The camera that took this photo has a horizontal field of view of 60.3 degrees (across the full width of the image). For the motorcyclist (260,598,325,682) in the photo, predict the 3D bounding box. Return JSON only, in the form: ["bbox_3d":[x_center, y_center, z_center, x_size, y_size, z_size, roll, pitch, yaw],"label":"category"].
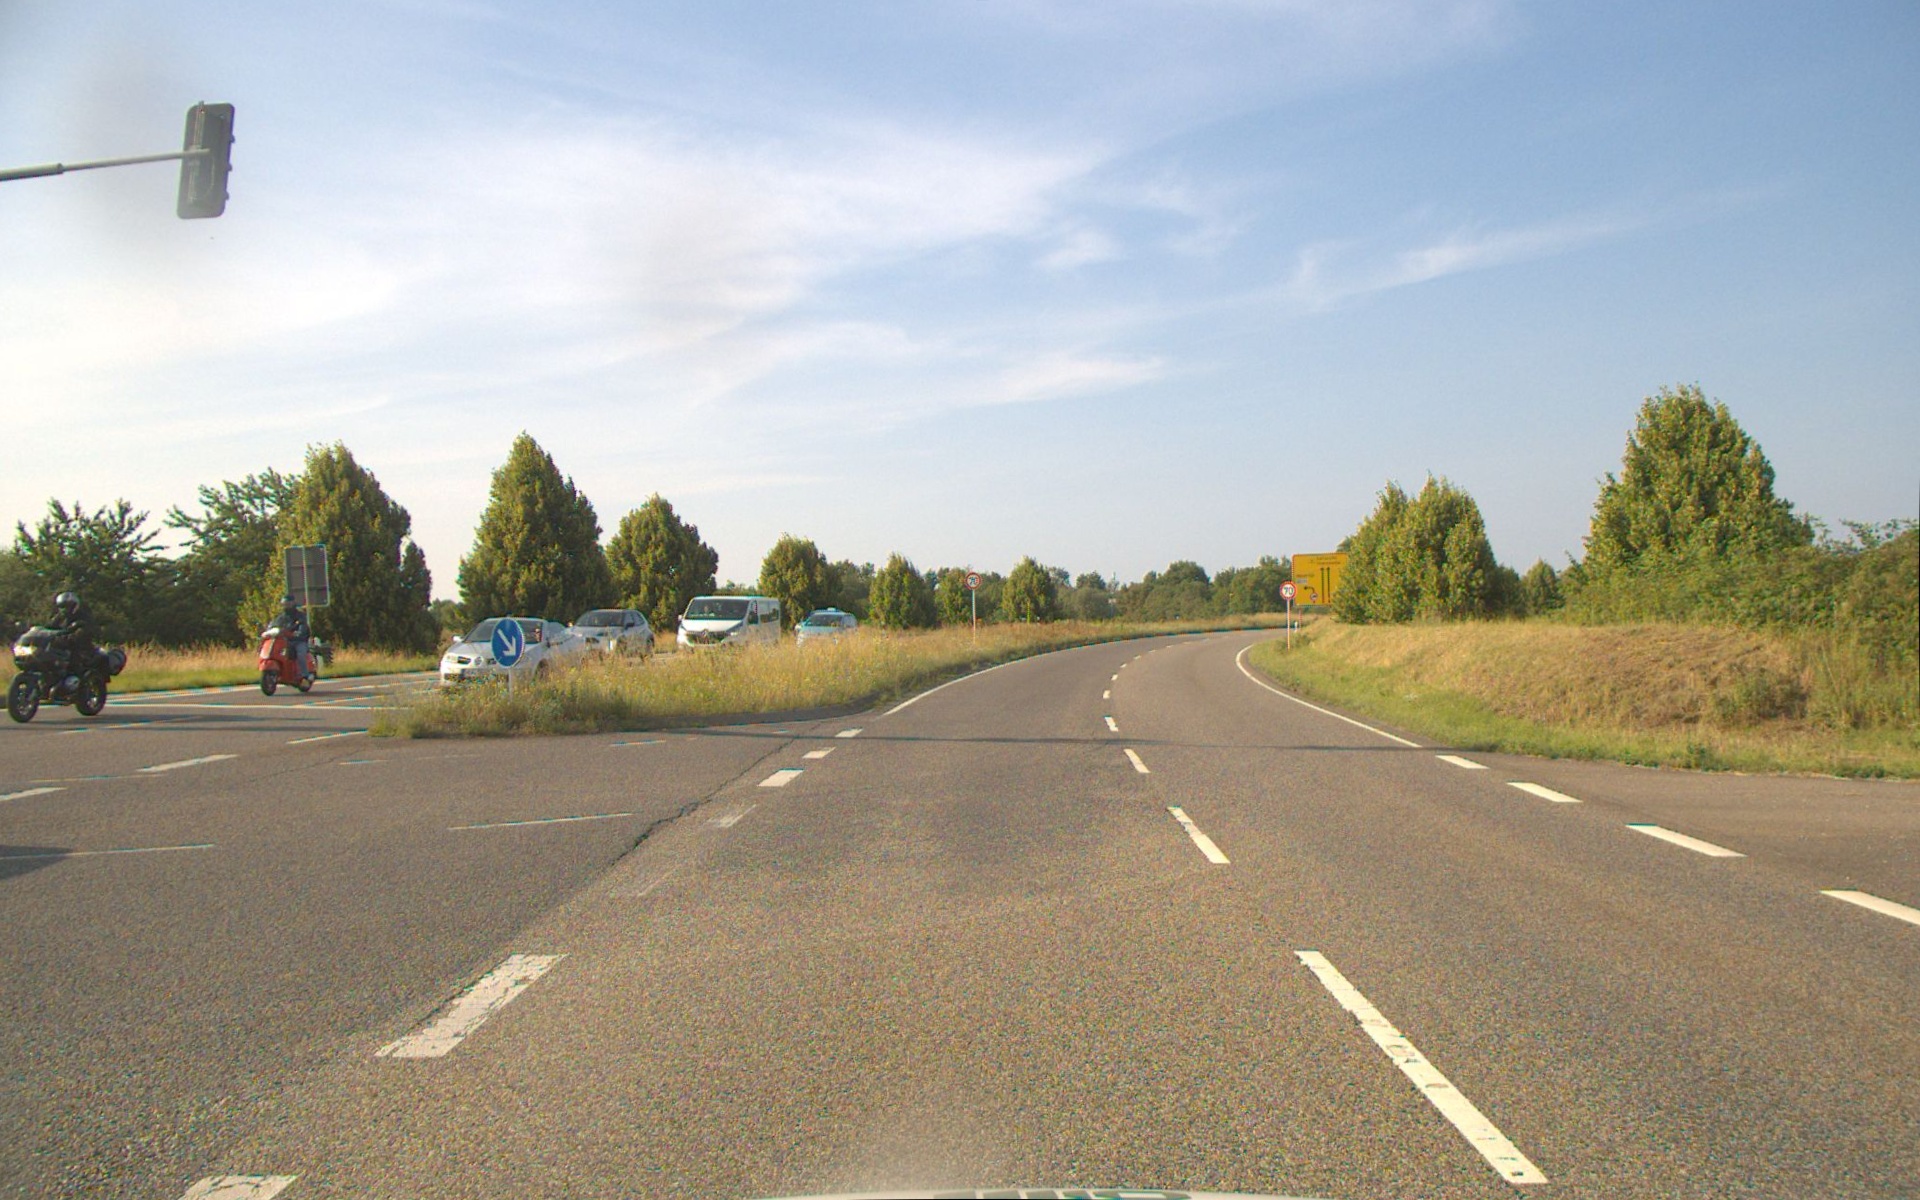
[{"bbox_3d":[-12.038,0.710,29.843,0.689,1.490,1.021,0,-1,5],"label":"motorcyclist"}]

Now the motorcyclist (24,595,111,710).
[{"bbox_3d":[-12.136,0.699,22.510,0.683,1.529,0.896,0,0,2],"label":"motorcyclist"}]

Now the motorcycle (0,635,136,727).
[{"bbox_3d":[-12.134,1.066,22.445,0.686,1.158,2.278,0,0,2],"label":"motorcycle"}]

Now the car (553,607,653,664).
[{"bbox_3d":[-10.127,0.986,47.187,1.670,1.552,4.137,0,-1,5],"label":"car"}]

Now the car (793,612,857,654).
[{"bbox_3d":[-4.800,1.167,59.266,1.643,1.469,3.754,0,-1,6],"label":"car"}]

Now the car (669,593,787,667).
[{"bbox_3d":[-6.402,0.822,46.285,1.951,1.937,5.792,0,-1,6],"label":"car"}]

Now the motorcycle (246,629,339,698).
[{"bbox_3d":[-12.019,1.122,29.854,0.692,1.179,2.024,0,-1,6],"label":"motorcycle"}]

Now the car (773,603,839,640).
[{"bbox_3d":[-6.737,0.932,72.713,1.872,1.593,4.614,0,-1,8],"label":"car"}]

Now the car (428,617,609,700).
[{"bbox_3d":[-7.830,1.005,29.770,1.658,1.377,4.456,0,-1,6],"label":"car"}]
